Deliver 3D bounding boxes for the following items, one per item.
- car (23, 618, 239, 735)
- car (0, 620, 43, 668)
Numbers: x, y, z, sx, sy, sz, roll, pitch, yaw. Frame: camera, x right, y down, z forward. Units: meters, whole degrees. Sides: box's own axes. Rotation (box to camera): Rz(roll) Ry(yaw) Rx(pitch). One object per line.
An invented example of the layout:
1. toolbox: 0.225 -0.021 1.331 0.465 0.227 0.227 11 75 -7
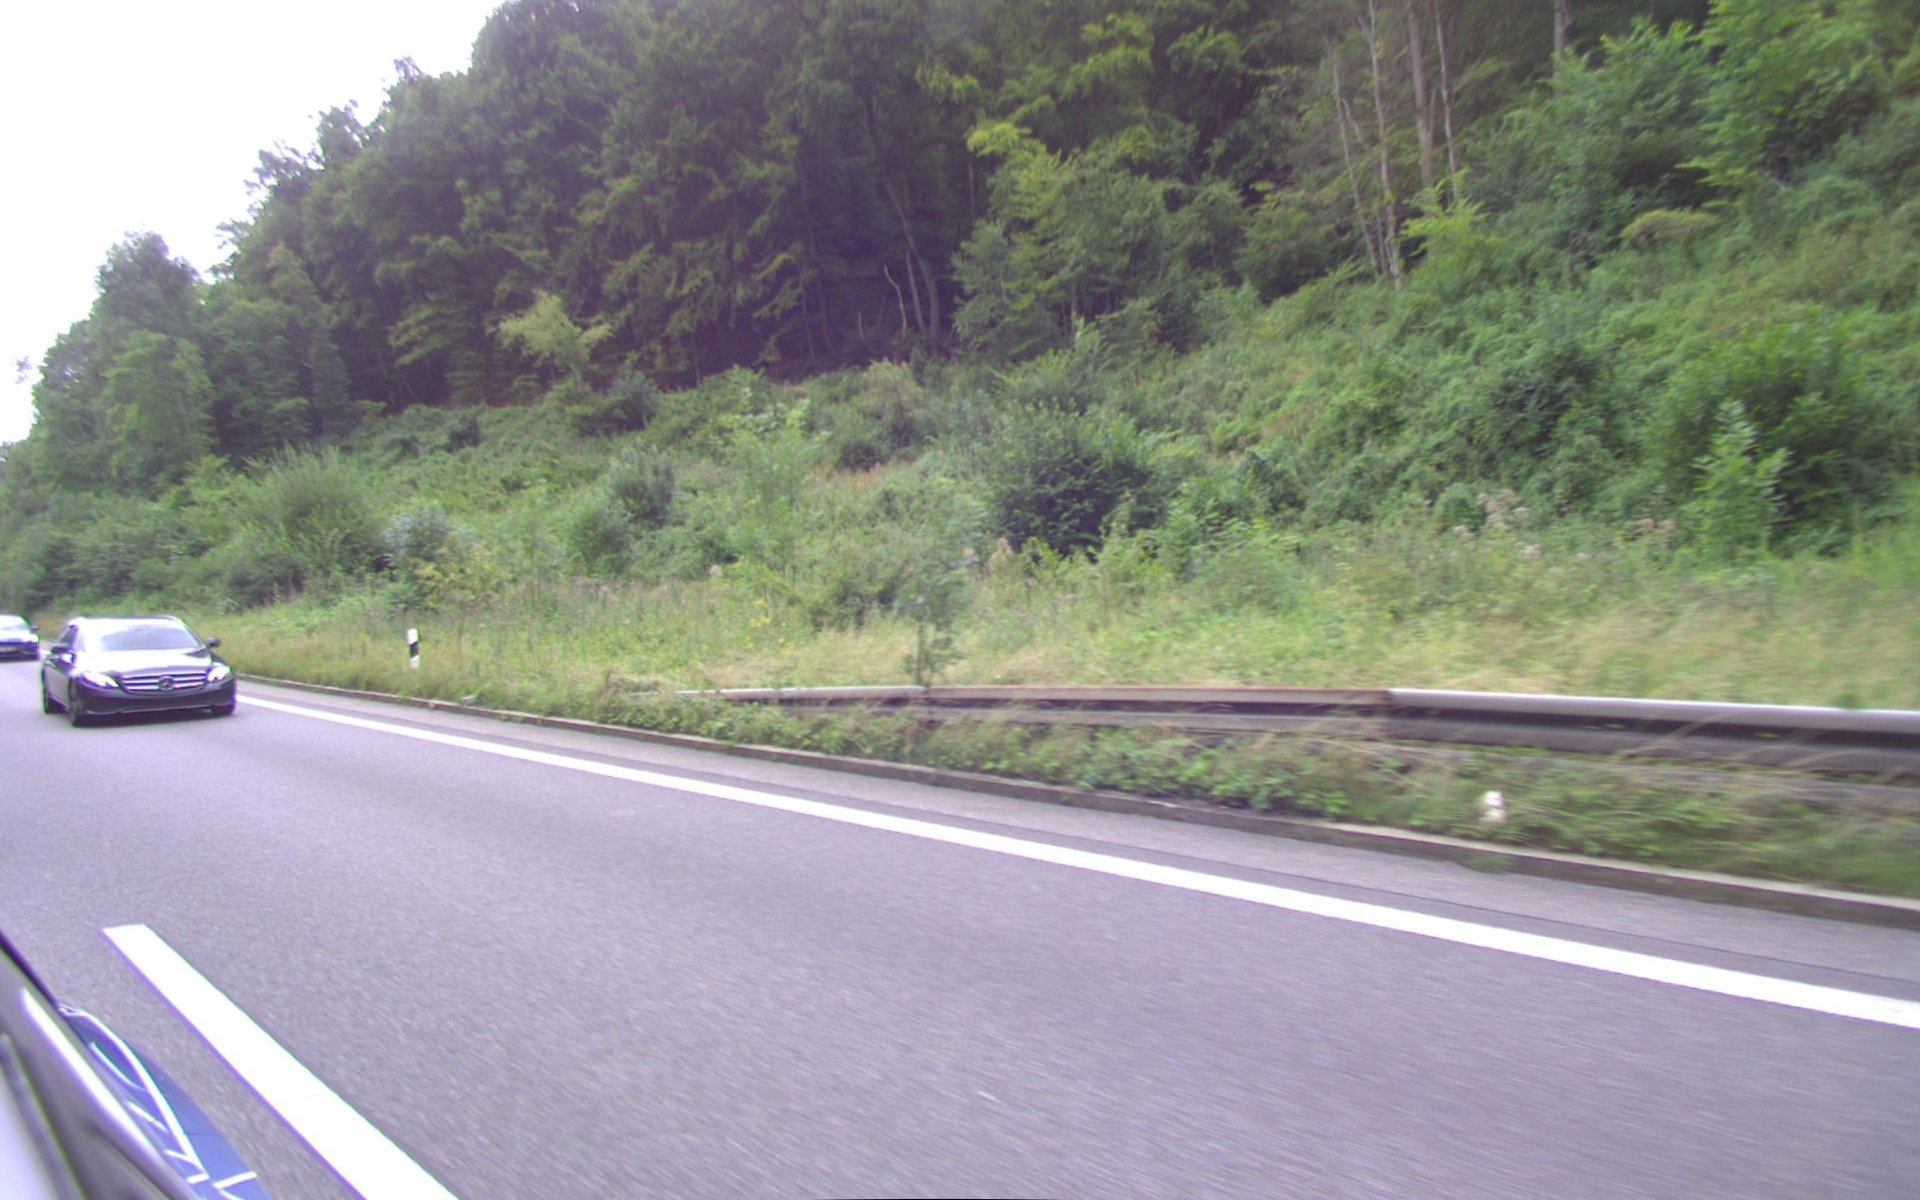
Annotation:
1. car: -12.631 1.049 15.282 5.120 1.474 1.742 -2 -1 41
2. car: -31.379 1.402 32.778 4.550 1.480 1.818 -1 -1 39
